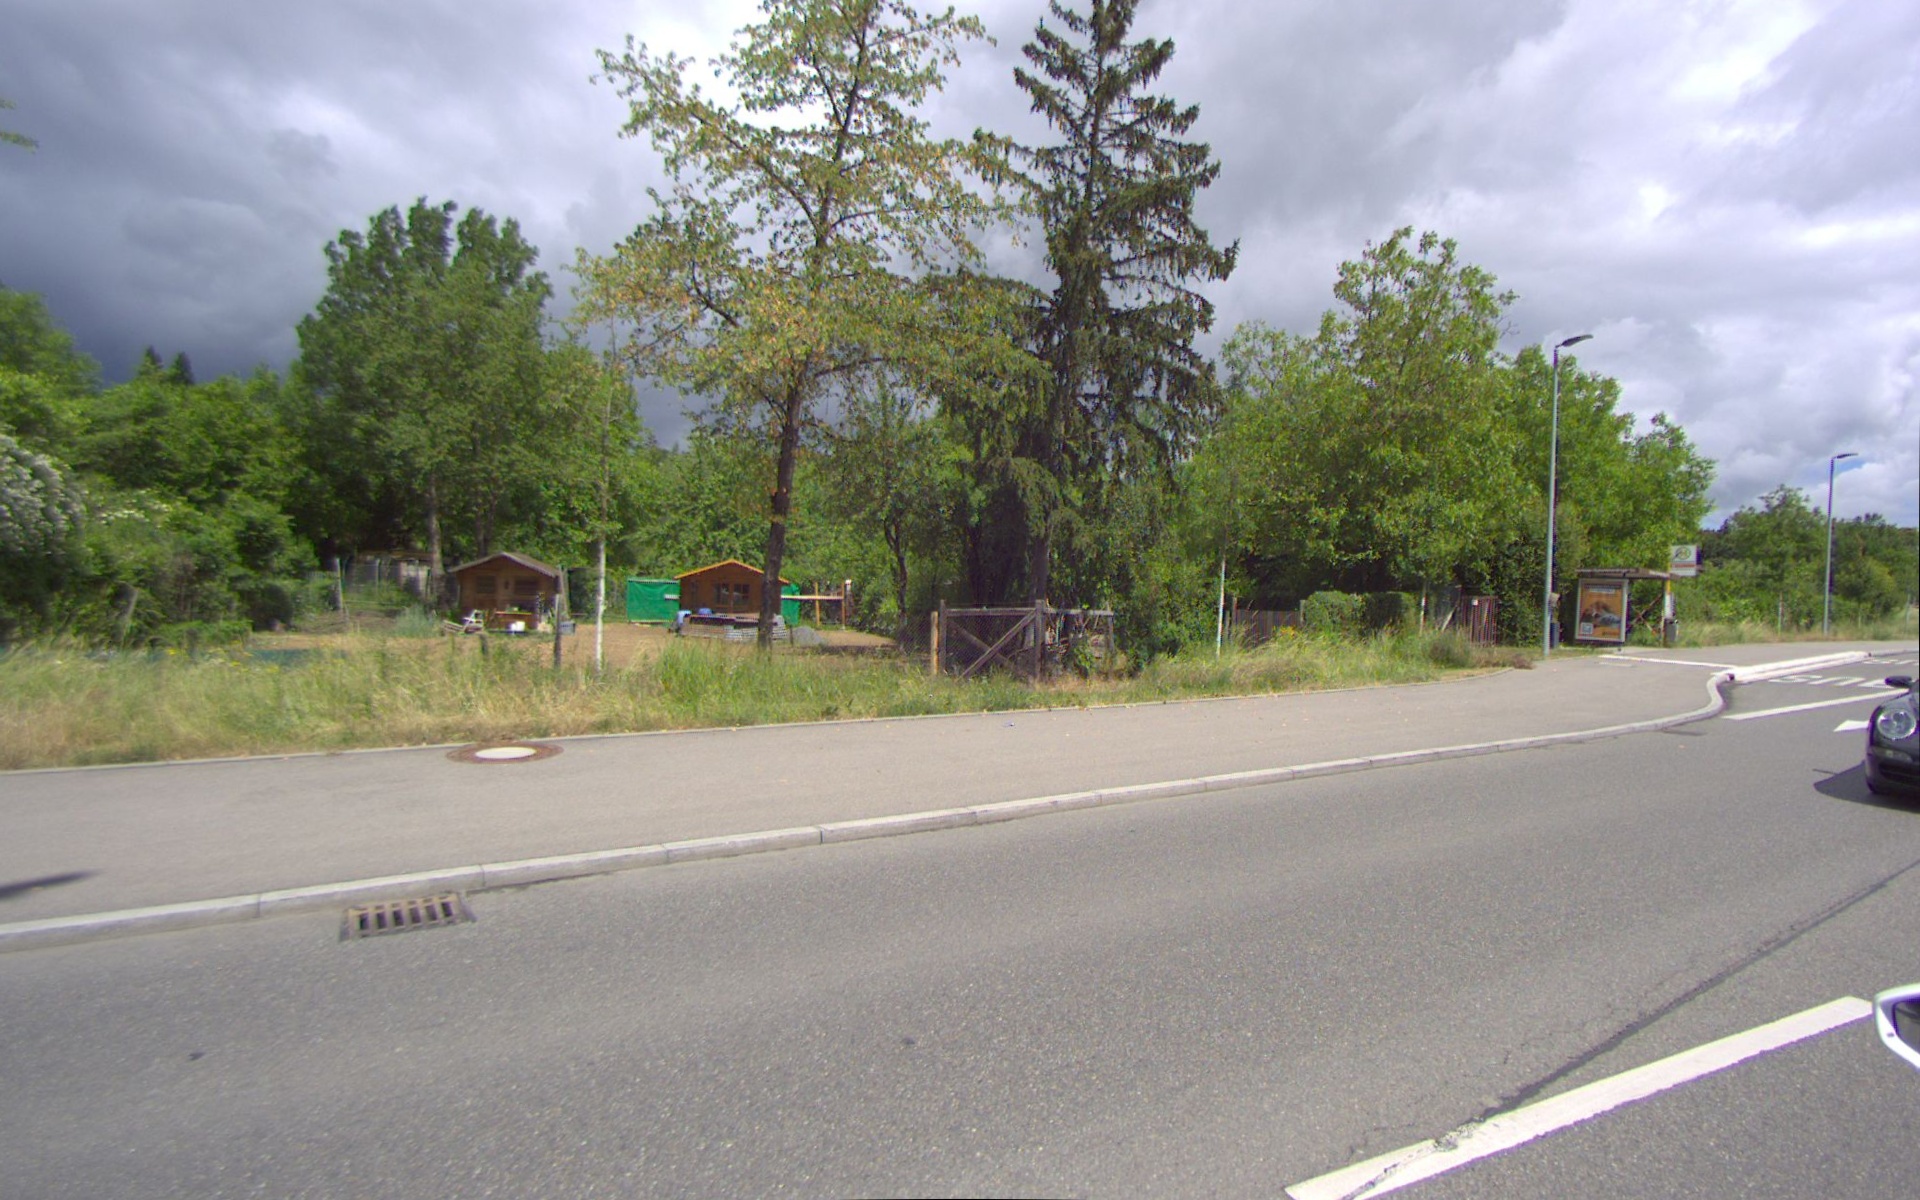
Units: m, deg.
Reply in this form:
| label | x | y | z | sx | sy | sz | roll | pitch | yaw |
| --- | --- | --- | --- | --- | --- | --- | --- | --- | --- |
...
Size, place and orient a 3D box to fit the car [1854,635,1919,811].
| label | x | y | z | sx | sy | sz | roll | pitch | yaw |
| --- | --- | --- | --- | --- | --- | --- | --- | --- | --- |
| car | 9.146 | 0.990 | 8.527 | 3.970 | 1.318 | 1.720 | 1 | 0 | -39 |
